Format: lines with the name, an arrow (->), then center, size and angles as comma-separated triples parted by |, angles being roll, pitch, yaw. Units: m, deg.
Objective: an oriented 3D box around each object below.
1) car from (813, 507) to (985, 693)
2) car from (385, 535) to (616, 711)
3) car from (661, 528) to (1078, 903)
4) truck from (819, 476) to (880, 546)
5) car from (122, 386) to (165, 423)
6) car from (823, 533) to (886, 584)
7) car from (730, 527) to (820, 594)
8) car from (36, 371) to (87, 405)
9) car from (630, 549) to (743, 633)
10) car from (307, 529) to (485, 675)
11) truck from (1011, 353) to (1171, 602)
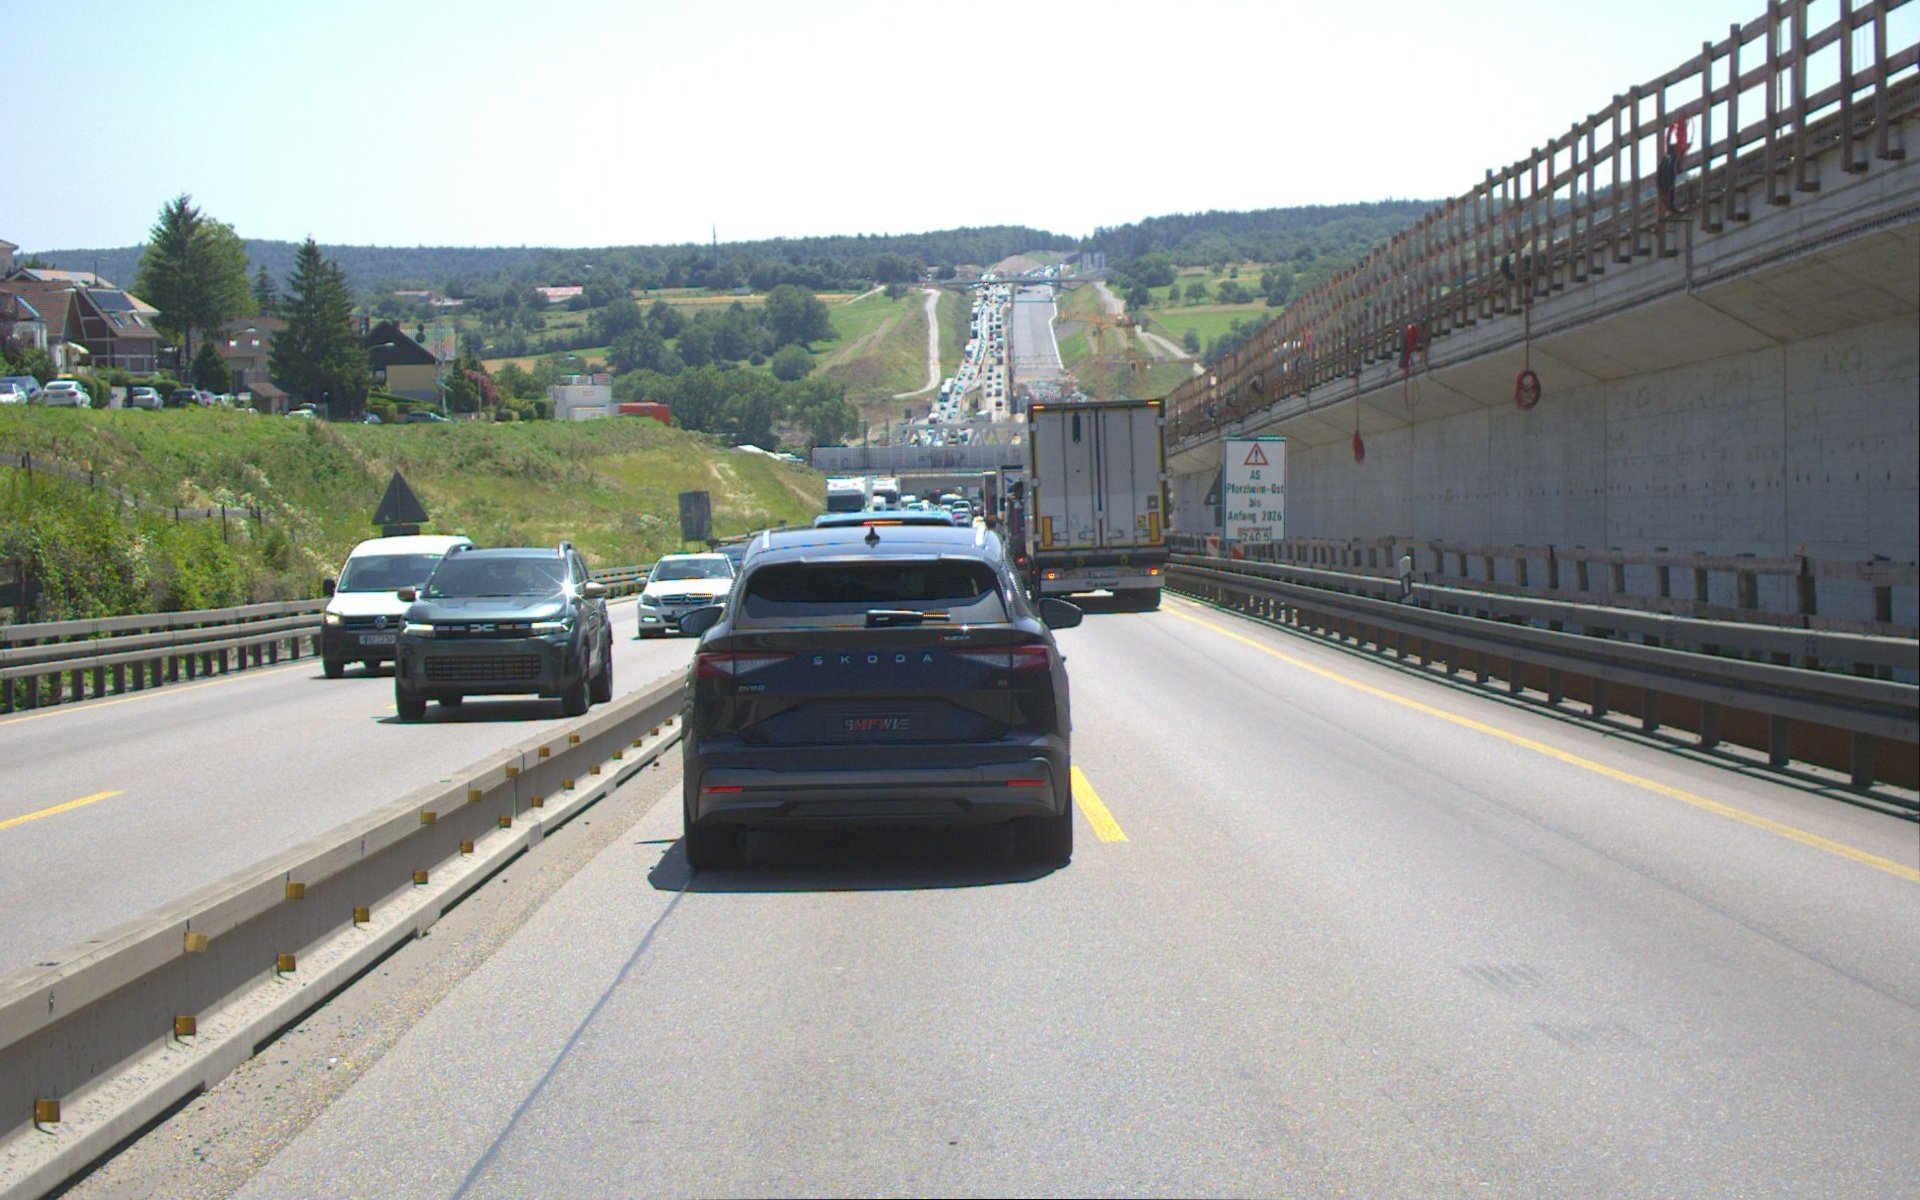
car -> -0.691, -0.032, 36.943 | 1.749, 1.889, 3.755 | 0, 1, -2
car -> -4.508, 0.179, 34.232 | 1.774, 1.628, 4.100 | -1, 1, -1
car -> -0.427, 0.476, 17.013 | 1.782, 1.592, 3.755 | -2, 1, -1
truck -> -7.138, -5.667, 220.454 | 3.179, 4.223, 6.486 | -2, 0, -7
car -> -42.498, -10.149, 178.978 | 1.924, 1.722, 4.001 | -2, 1, -10
car -> -3.330, -1.305, 109.280 | 1.842, 1.525, 4.294 | -2, 0, 0
car -> -4.401, -0.917, 82.389 | 1.606, 1.441, 4.669 | -4, 0, 2
car -> -41.627, -9.832, 159.331 | 1.993, 1.315, 4.001 | 1, 0, -11
car -> -4.788, -0.170, 60.574 | 1.732, 1.433, 4.259 | 0, 0, -1
car -> -7.567, 0.008, 46.519 | 1.596, 1.827, 4.753 | -2, 0, 0
truck -> 2.537, -2.340, 70.276 | 2.846, 4.599, 11.811 | -1, 0, 1
